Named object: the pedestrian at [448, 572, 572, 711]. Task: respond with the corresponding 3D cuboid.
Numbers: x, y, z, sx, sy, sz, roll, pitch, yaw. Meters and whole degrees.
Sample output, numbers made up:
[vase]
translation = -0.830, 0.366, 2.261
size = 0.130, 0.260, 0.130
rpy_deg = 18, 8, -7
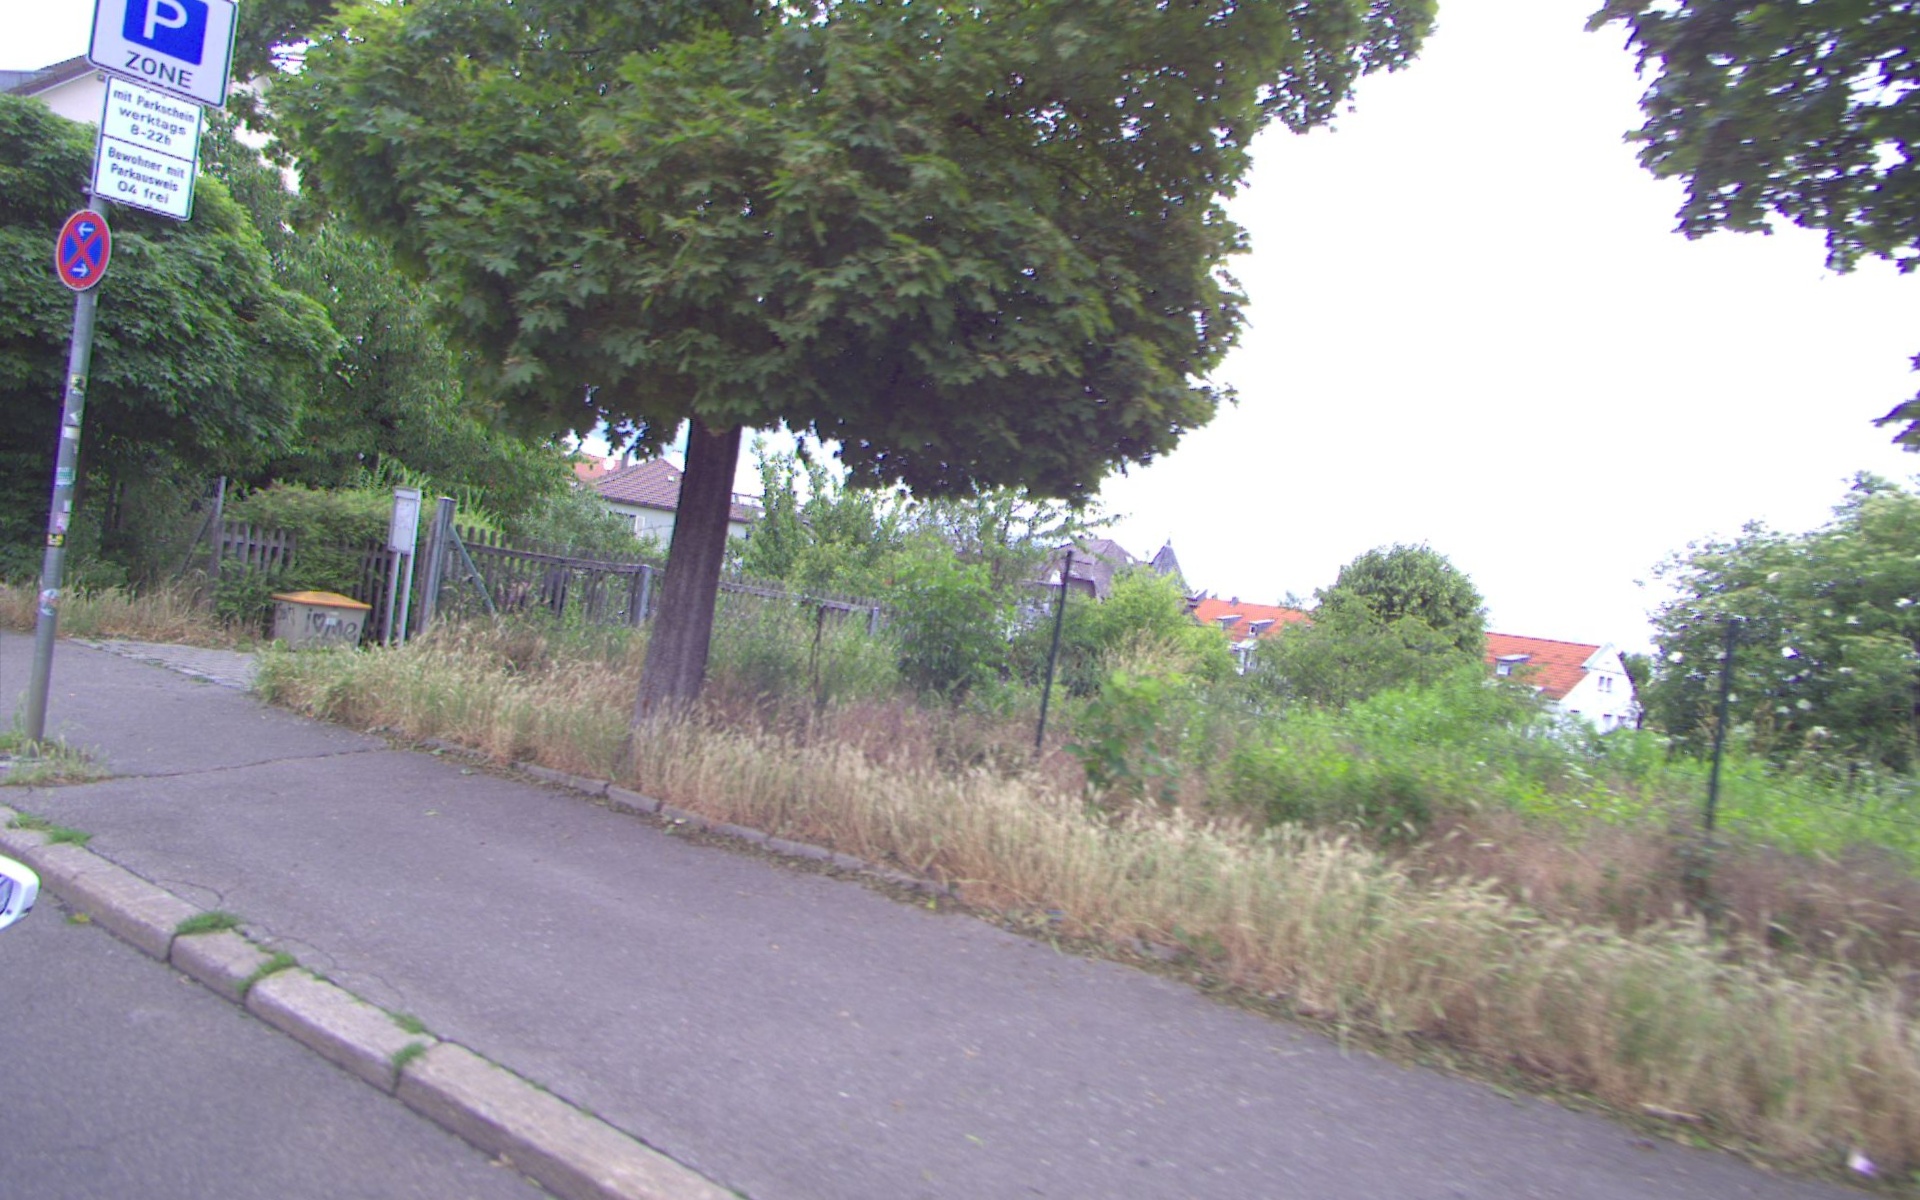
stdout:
[pedestrian]
translation = -4.706, 0.434, 10.531
size = 0.794, 1.324, 0.746
rpy_deg = 6, 0, 31
